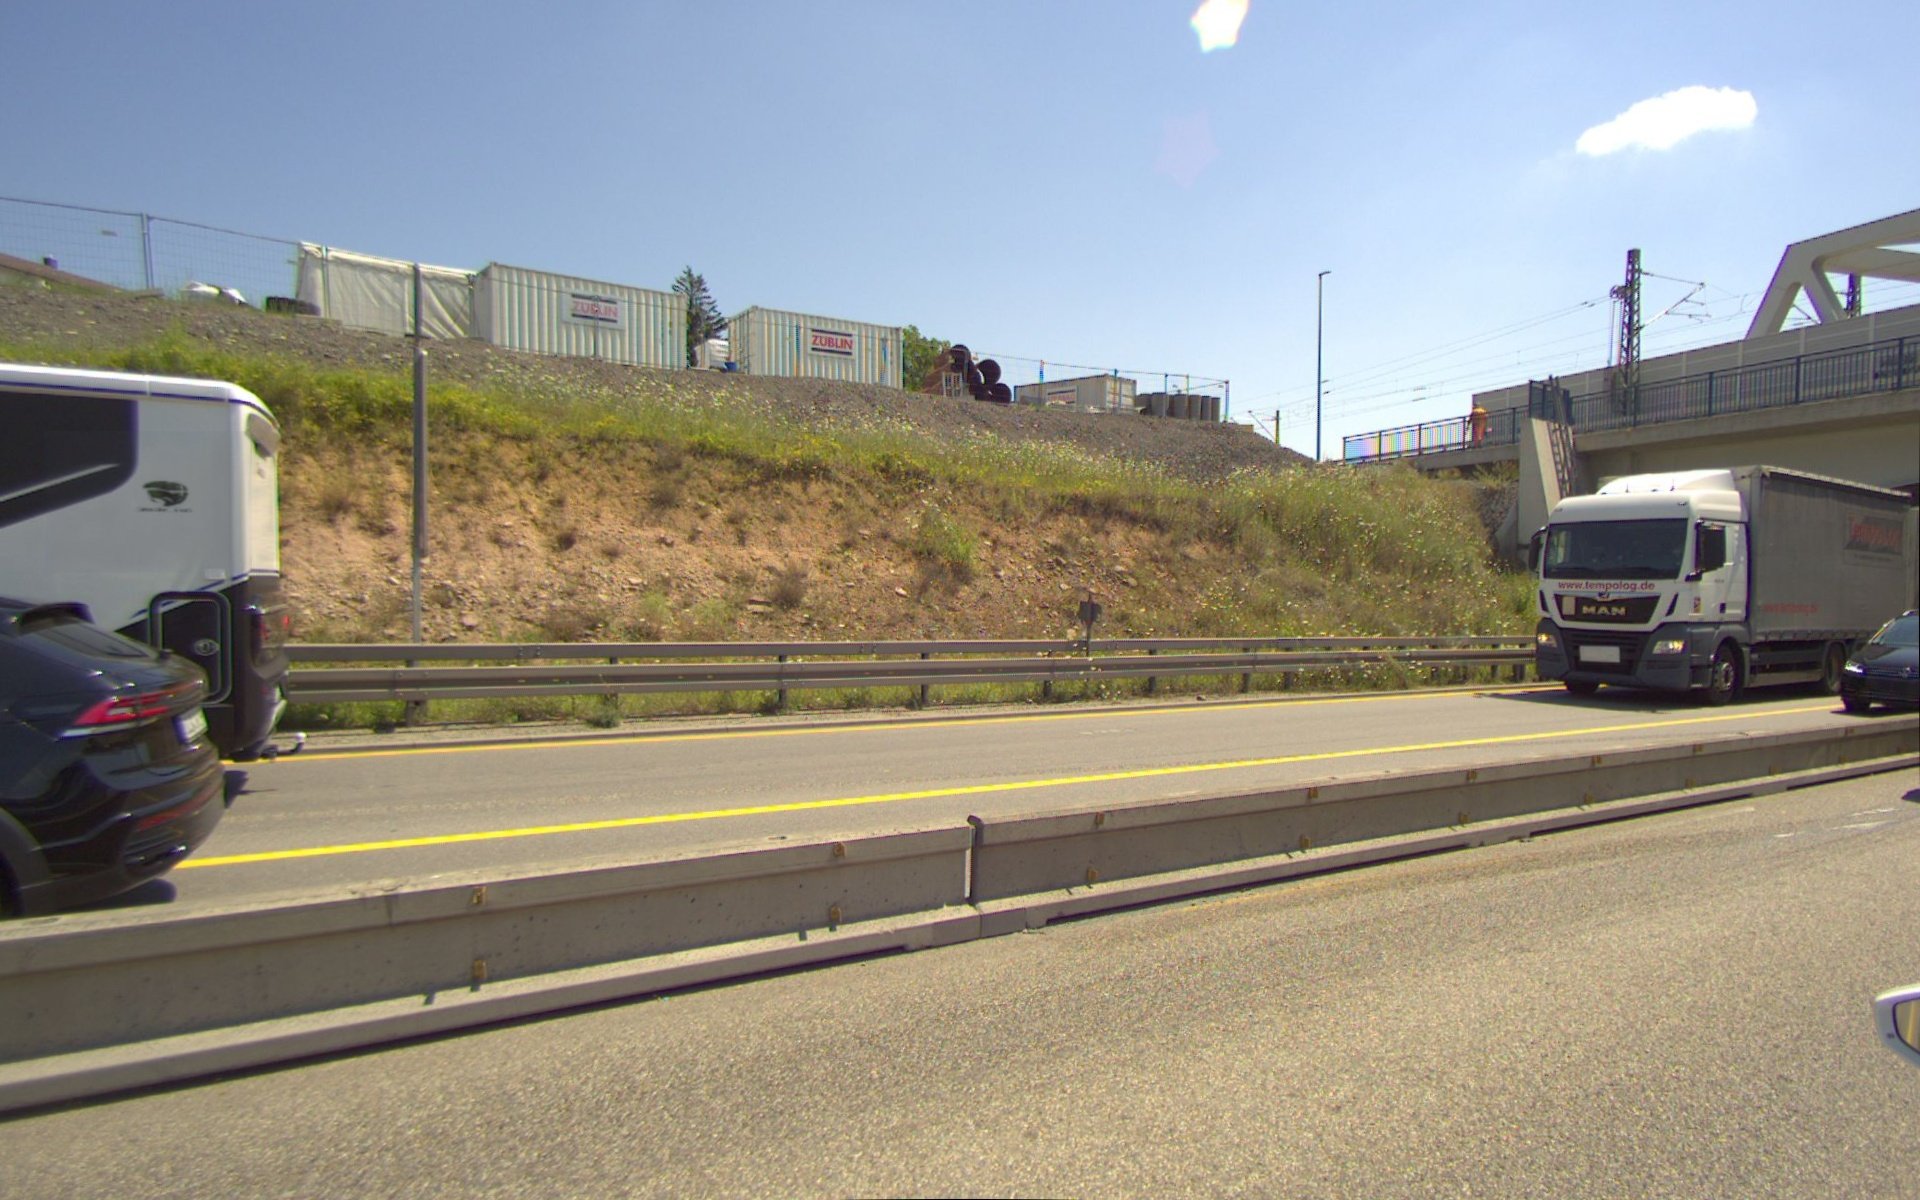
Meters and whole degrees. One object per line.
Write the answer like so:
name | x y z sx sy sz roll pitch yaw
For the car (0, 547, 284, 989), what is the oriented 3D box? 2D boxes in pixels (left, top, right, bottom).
car | -4.959 0.560 3.539 4.136 1.538 1.745 0 1 -30

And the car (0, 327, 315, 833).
car | -7.628 -0.183 5.701 6.482 2.858 2.264 2 0 -30

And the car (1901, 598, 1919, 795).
car | 10.324 0.868 8.854 4.336 1.657 1.726 1 1 -30

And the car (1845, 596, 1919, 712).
car | 16.766 0.850 16.657 4.556 1.780 1.846 0 1 -31

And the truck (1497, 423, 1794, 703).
truck | 11.844 -0.522 17.376 4.029 4.205 2.783 2 0 -32

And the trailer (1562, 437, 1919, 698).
trailer | 15.463 -0.431 19.681 8.152 4.229 2.797 2 0 -32

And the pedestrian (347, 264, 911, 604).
pedestrian | -2.625 -1.062 8.216 3.953 2.040 1.984 2 0 -30

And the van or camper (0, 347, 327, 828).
van or camper | -7.520 -0.115 5.786 6.377 2.741 2.114 1 0 -29
